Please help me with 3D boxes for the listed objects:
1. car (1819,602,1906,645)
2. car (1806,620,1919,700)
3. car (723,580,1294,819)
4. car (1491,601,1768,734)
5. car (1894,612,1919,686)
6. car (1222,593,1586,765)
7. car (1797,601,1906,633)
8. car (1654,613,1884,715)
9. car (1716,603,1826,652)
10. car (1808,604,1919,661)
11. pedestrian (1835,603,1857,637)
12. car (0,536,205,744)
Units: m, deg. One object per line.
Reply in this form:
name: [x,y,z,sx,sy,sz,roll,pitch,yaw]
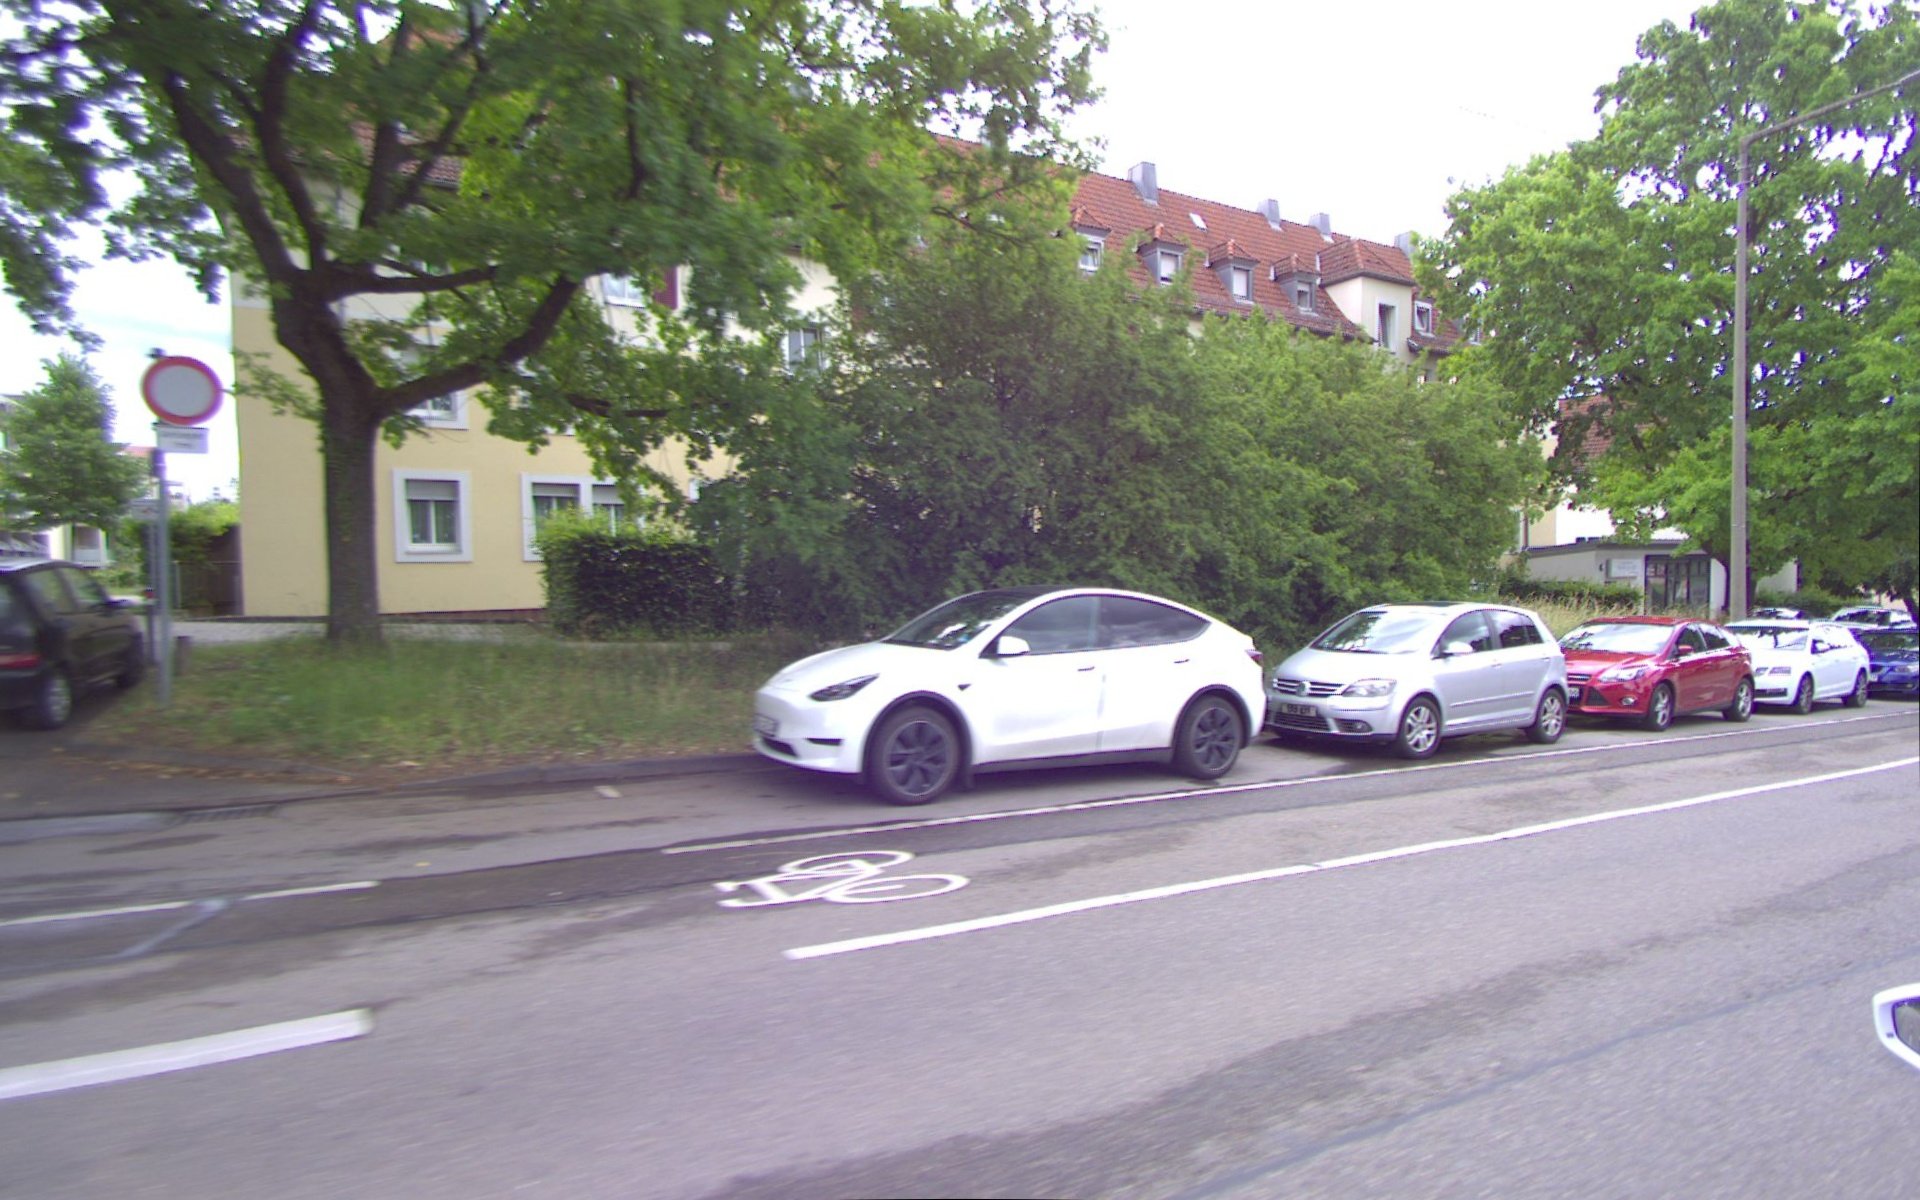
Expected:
car: [37.650,0.969,41.878,4.245,1.655,1.750,1,1,-35]
car: [18.950,1.149,20.294,4.292,1.408,1.705,1,0,-34]
car: [0.527,0.715,8.649,4.702,1.594,1.759,1,0,-29]
car: [9.563,0.874,14.250,4.325,1.594,1.705,1,1,-34]
car: [23.612,1.113,23.388,4.486,1.634,1.705,0,2,-34]
car: [5.105,0.784,11.411,4.076,1.594,1.857,1,1,-34]
car: [57.841,1.070,65.257,1.981,1.838,4.956,1,1,-36]
car: [13.886,1.015,17.159,4.706,1.479,1.705,1,1,-34]
car: [28.497,0.942,35.269,4.395,1.490,1.750,1,4,-35]
car: [29.669,1.043,32.846,3.956,1.655,1.751,1,3,-32]
pedestrian: [43.955,0.972,49.817,0.822,1.635,0.625,0,2,-38]
car: [-9.083,0.224,9.807,1.862,1.474,4.416,1,5,-26]
